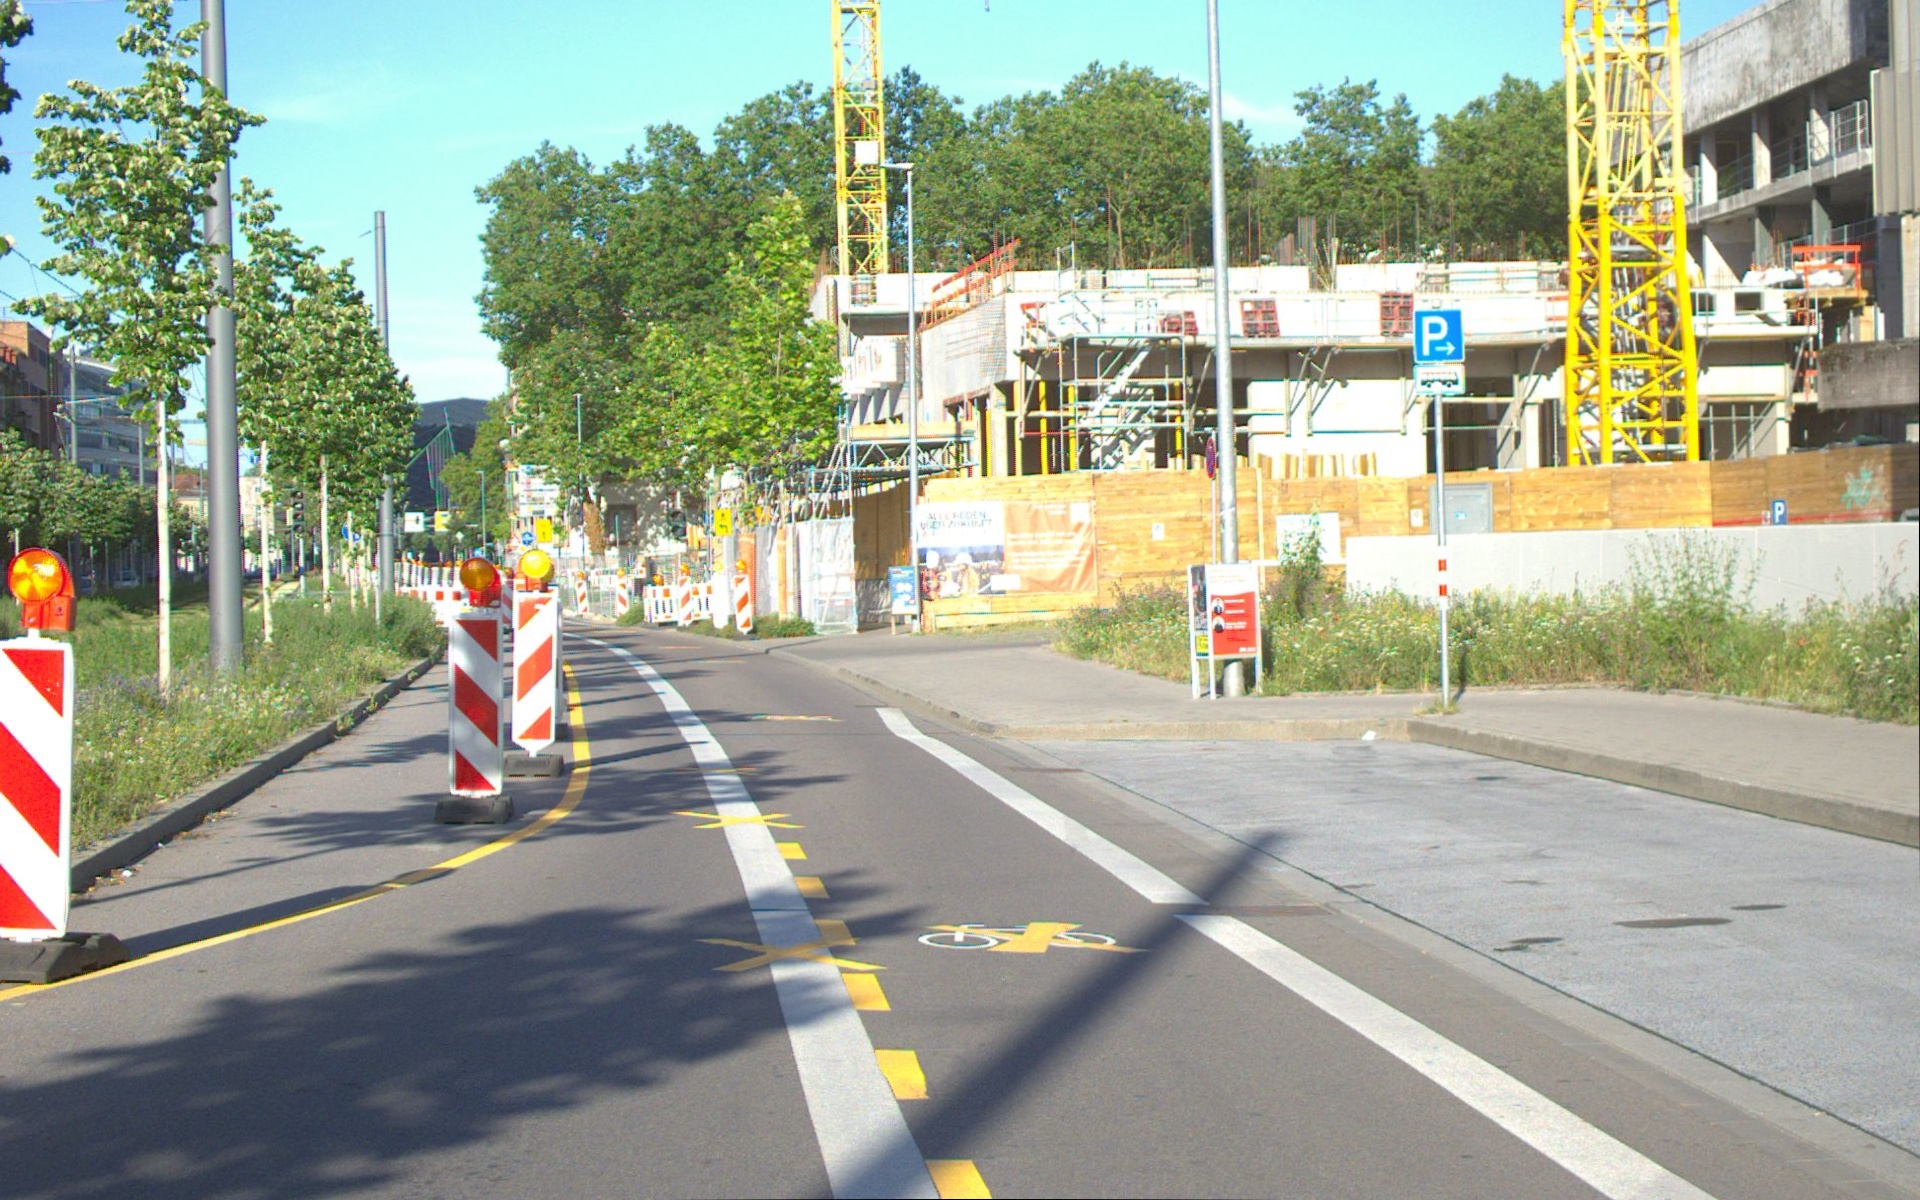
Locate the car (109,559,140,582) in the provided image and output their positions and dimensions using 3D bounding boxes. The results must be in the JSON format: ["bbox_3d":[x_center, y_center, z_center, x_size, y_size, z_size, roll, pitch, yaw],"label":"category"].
[{"bbox_3d":[-54.481,-1.936,224.178,1.594,1.478,3.624,-1,1,-9],"label":"car"}]
